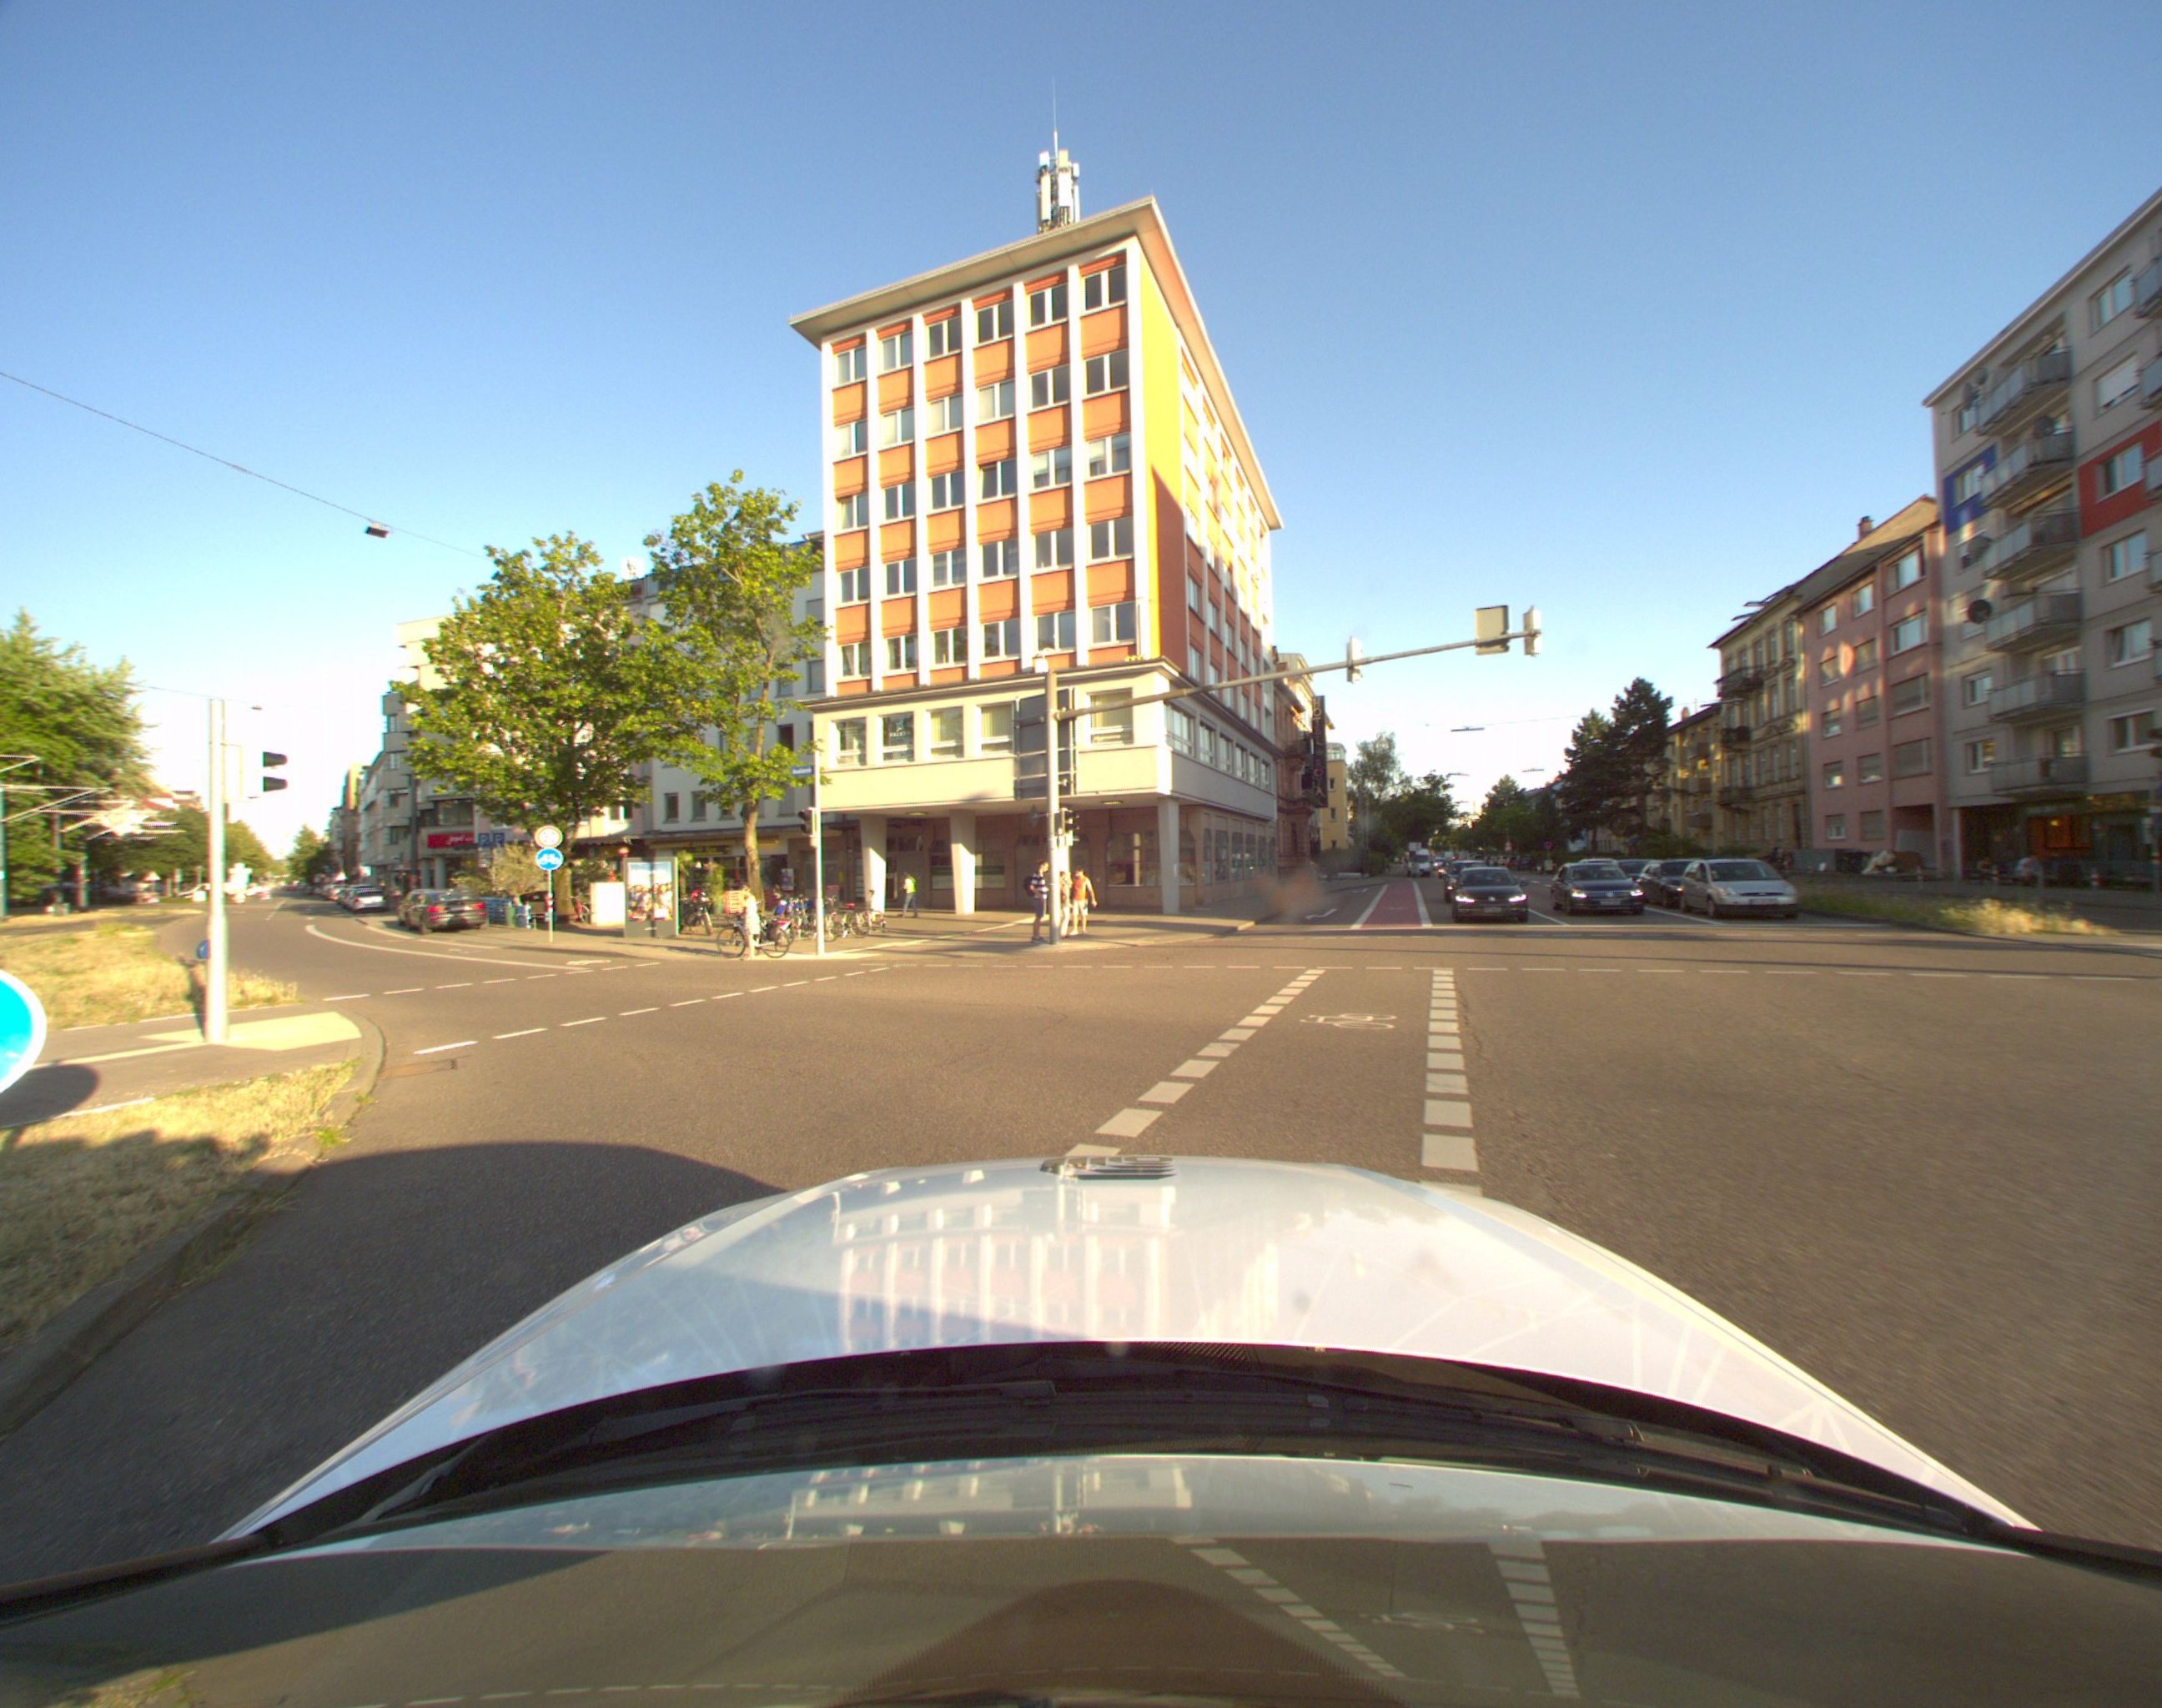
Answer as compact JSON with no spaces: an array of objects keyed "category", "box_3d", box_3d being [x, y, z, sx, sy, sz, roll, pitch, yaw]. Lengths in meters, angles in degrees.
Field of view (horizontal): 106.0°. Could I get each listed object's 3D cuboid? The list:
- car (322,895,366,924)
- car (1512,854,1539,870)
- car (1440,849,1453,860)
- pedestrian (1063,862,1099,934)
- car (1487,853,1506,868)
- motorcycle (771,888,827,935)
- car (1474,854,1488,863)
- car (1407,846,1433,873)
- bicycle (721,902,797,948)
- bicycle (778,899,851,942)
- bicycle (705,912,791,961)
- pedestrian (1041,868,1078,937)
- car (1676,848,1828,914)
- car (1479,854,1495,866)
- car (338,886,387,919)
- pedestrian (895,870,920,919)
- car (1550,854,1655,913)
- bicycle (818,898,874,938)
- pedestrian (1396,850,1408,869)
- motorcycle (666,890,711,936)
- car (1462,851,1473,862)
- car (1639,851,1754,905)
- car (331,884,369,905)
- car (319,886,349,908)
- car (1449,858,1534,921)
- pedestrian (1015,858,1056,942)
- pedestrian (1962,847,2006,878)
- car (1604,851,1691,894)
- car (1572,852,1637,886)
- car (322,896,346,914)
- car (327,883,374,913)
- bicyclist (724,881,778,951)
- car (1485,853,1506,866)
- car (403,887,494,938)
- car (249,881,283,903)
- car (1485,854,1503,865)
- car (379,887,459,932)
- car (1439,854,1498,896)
[{"category":"car","box_3d":[-53.370,3.978,58.952,3.949,1.839,2.012,-2,-1,43]},{"category":"car","box_3d":[45.810,0.799,84.085,1.976,1.517,4.243,-2,-1,23]},{"category":"car","box_3d":[85.916,0.110,191.392,2.593,2.376,5.284,-2,-1,23]},{"category":"pedestrian","box_3d":[0.018,1.119,21.120,0.744,1.818,0.716,-2,-1,12]},{"category":"car","box_3d":[57.164,0.834,112.080,1.976,1.997,4.243,-2,-1,23]},{"category":"motorcycle","box_3d":[-8.850,1.787,25.626,0.539,1.318,1.846,-2,-1,24]},{"category":"car","box_3d":[69.106,0.785,140.697,1.976,1.517,4.243,-2,-1,23]},{"category":"car","box_3d":[30.289,0.479,72.720,1.976,2.324,4.243,-2,-1,23]},{"category":"bicycle","box_3d":[-7.941,1.745,20.045,1.885,1.075,0.471,-2,-1,21]},{"category":"bicycle","box_3d":[-7.068,1.765,21.575,1.972,1.075,0.471,-2,-1,21]},{"category":"bicycle","box_3d":[-6.952,1.725,17.004,1.651,0.944,0.511,-2,-1,12]},{"category":"pedestrian","box_3d":[-0.532,1.215,20.589,0.721,1.685,0.588,-2,-1,20]},{"category":"car","box_3d":[16.702,0.624,20.513,1.975,1.486,4.023,-2,0,25]},{"category":"car","box_3d":[64.826,0.927,130.021,1.976,1.834,4.243,-2,-1,23]},{"category":"car","box_3d":[-45.183,3.010,51.199,3.949,1.864,1.937,-2,-1,43]},{"category":"pedestrian","box_3d":[-6.460,1.495,30.306,0.633,1.791,0.588,-2,-1,20]},{"category":"car","box_3d":[14.845,0.797,23.410,1.975,1.486,4.023,-2,-1,25]},{"category":"bicycle","box_3d":[-6.554,1.796,22.738,1.542,1.075,0.397,-2,-1,21]},{"category":"pedestrian","box_3d":[35.011,0.564,88.770,1.017,2.014,0.947,-2,-1,9]},{"category":"motorcycle","box_3d":[-11.740,1.762,24.373,1.373,1.318,0.383,-2,-1,23]},{"category":"car","box_3d":[85.419,0.637,179.928,1.976,2.376,4.022,-2,-1,23]},{"category":"car","box_3d":[18.702,0.695,24.948,1.975,1.486,4.023,-2,-1,25]},{"category":"car","box_3d":[-62.031,3.420,69.110,3.949,1.710,2.012,-2,-1,43]},{"category":"car","box_3d":[-71.667,4.072,78.174,2.011,1.981,3.952,-1,-1,-41]},{"category":"car","box_3d":[11.117,0.910,22.209,1.863,1.486,4.023,-2,-1,25]},{"category":"pedestrian","box_3d":[-1.094,1.072,19.380,0.725,1.947,0.712,-1,-1,-24]},{"category":"pedestrian","box_3d":[35.421,0.329,31.957,0.852,1.170,0.795,-2,-1,14]},{"category":"car","box_3d":[21.058,0.653,30.447,1.975,1.486,4.023,-2,-1,25]},{"category":"car","box_3d":[24.465,0.664,38.197,1.975,1.486,4.023,-2,-1,25]},{"category":"car","box_3d":[-85.507,5.826,93.193,2.011,1.878,3.856,-1,-1,-43]},{"category":"car","box_3d":[-49.293,2.927,54.926,3.949,1.861,2.012,-2,-1,43]},{"category":"bicyclist","box_3d":[-6.879,1.286,16.987,0.849,1.426,0.502,-2,-1,11]},{"category":"car","box_3d":[52.184,0.677,102.498,1.976,1.517,4.243,-2,-1,23]},{"category":"car","box_3d":[-23.568,2.098,30.283,3.949,1.684,2.012,-2,-1,42]},{"category":"car","box_3d":[-85.349,3.921,85.324,2.010,2.013,3.955,-3,2,-38]},{"category":"car","box_3d":[60.175,0.832,118.758,1.976,1.517,4.243,-2,-1,23]},{"category":"car","box_3d":[-28.329,2.314,34.827,3.949,1.701,2.012,-2,-1,41]},{"category":"car","box_3d":[15.910,0.826,33.614,1.976,1.531,4.022,-2,0,23]}]
